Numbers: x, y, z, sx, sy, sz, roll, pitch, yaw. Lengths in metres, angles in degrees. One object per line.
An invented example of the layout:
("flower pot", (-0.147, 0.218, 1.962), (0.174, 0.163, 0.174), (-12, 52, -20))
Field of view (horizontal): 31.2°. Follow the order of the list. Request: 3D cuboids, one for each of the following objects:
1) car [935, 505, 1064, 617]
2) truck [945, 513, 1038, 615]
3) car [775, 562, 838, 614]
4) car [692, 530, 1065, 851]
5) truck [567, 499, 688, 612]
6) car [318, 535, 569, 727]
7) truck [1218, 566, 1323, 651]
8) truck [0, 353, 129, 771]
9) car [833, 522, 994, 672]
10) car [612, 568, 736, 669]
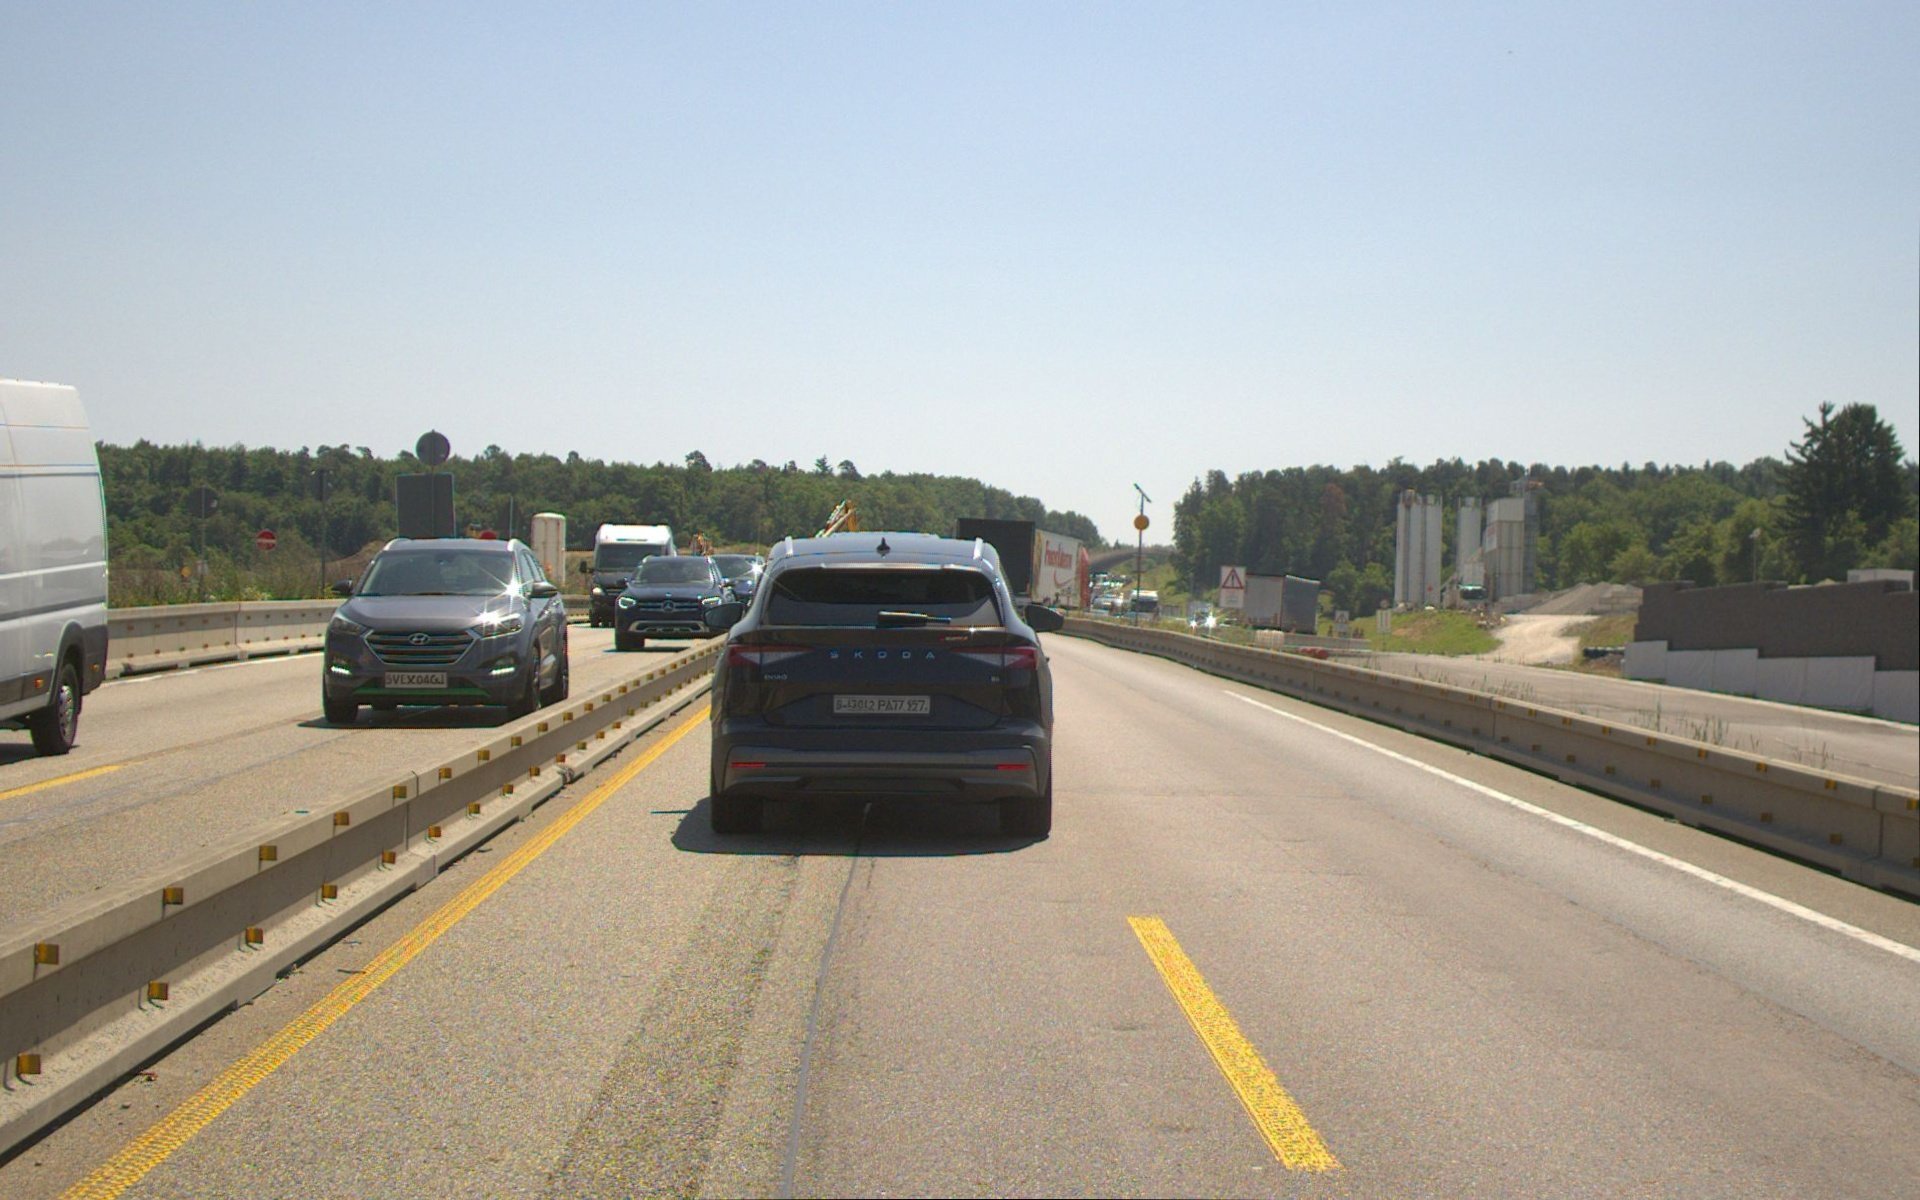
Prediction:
("car", (1.714, -1.555, 143.537), (3.438, 4.087, 9.192), (6, 0, 11))
("truck", (0.926, -1.100, 103.421), (2.673, 2.935, 5.620), (1, 1, 0))
("car", (-5.031, -0.405, 113.222), (1.904, 1.603, 4.000), (1, 1, -1))
("car", (-0.415, 0.427, 19.323), (1.842, 1.576, 4.000), (1, 1, 0))
("truck", (-8.755, -1.153, 91.192), (2.480, 2.814, 8.129), (1, 0, -1))
("car", (-4.669, 0.233, 31.565), (1.938, 1.605, 4.001), (1, 1, -4))
("truck", (17.840, 0.563, 196.635), (3.479, 4.206, 10.366), (7, 0, 17))
("truck", (-7.520, -0.284, 23.617), (2.239, 2.777, 6.493), (1, 1, -2))
("car", (-0.674, -0.044, 46.596), (1.993, 1.838, 4.000), (3, 0, -2))
("car", (-4.939, 0.289, 59.856), (1.855, 1.598, 4.736), (1, 1, -1))
